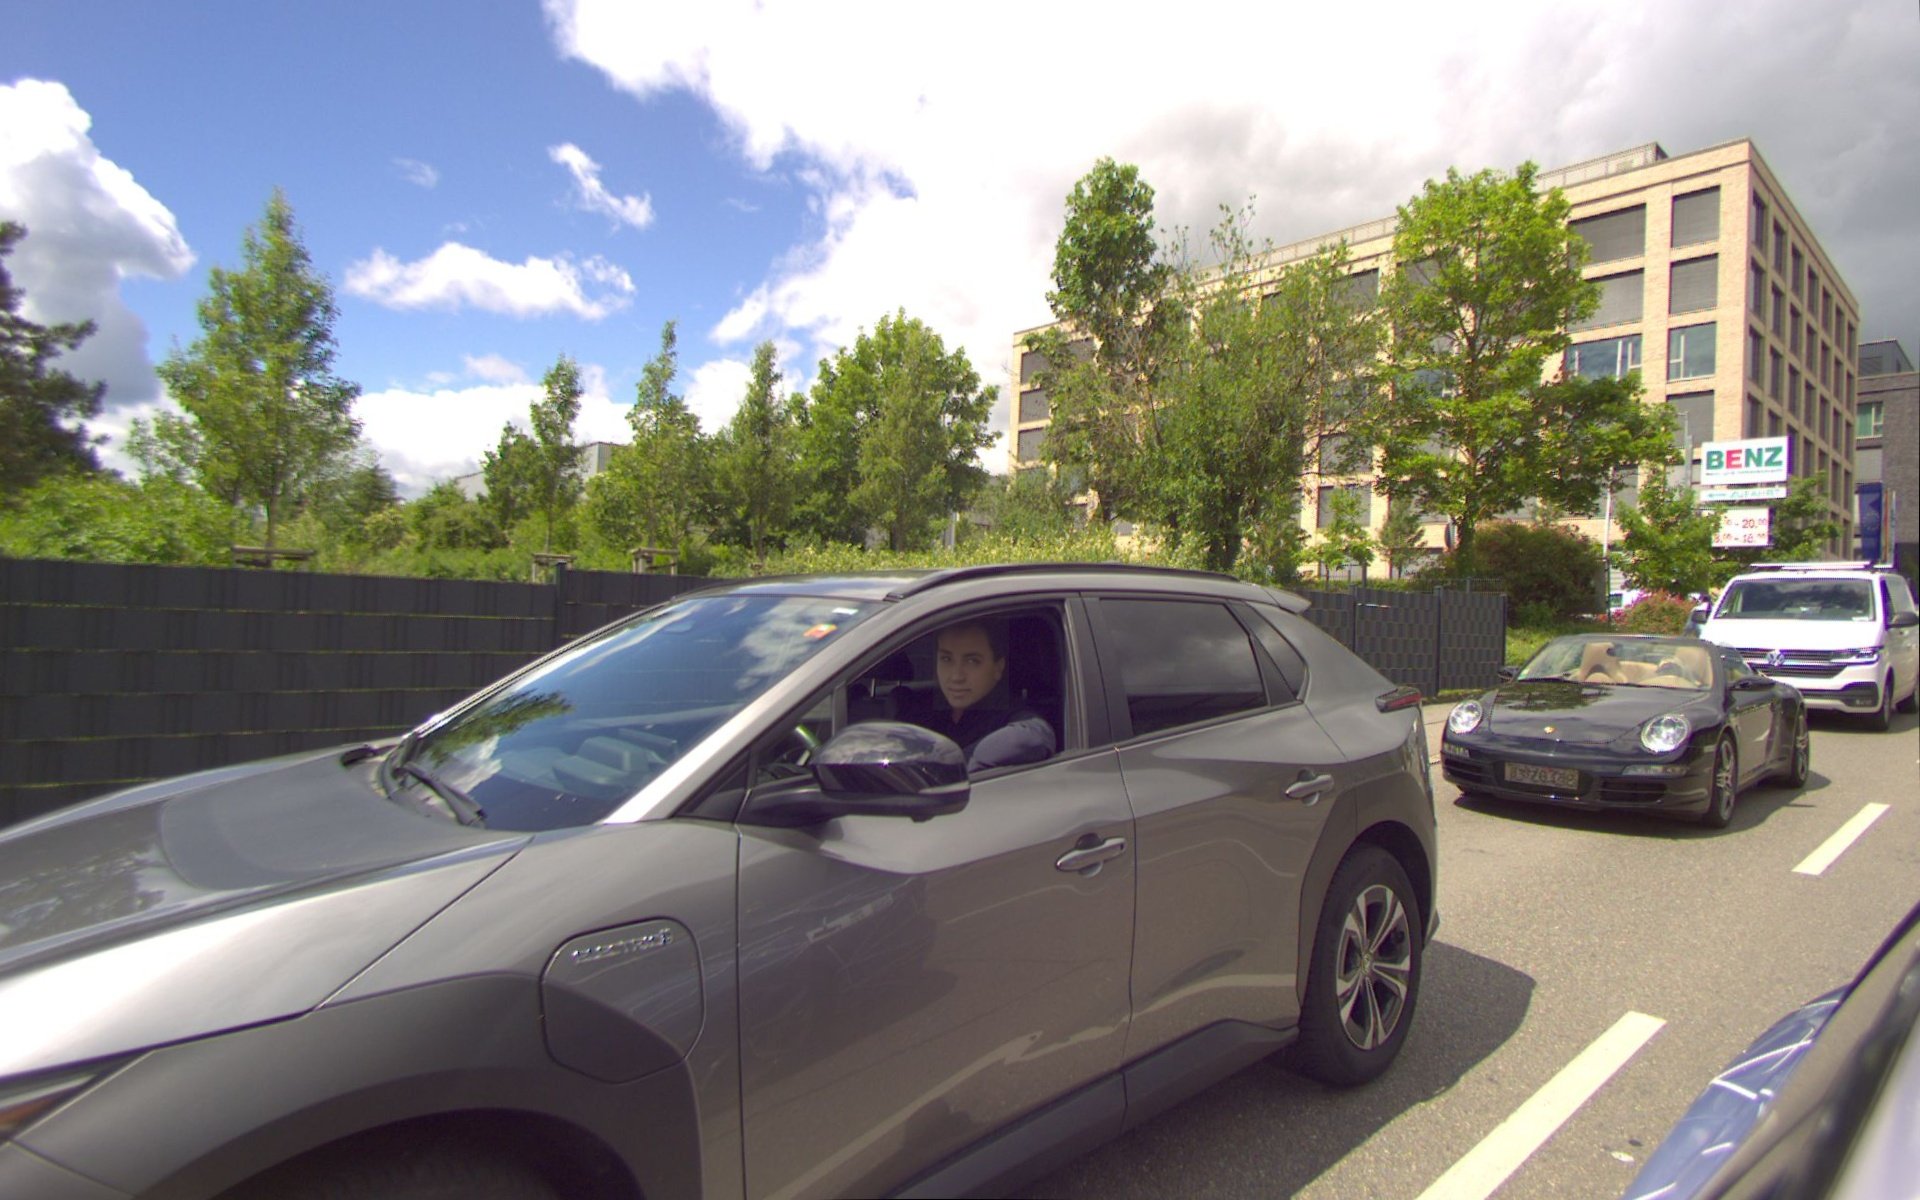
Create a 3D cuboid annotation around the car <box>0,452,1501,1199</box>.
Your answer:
[{"bbox_3d":[-0.381,0.649,2.925,4.501,1.649,1.997,0,1,-42],"label":"car"}]

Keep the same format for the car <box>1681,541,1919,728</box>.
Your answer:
[{"bbox_3d":[11.566,0.373,13.539,4.677,2.075,2.087,0,0,-41],"label":"car"}]

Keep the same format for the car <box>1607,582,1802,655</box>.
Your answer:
[{"bbox_3d":[19.974,0.425,27.255,1.793,1.754,3.991,0,2,-44],"label":"car"}]

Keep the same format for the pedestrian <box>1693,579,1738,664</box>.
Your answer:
[{"bbox_3d":[15.311,0.417,20.504,0.435,1.678,0.631,0,1,-42],"label":"pedestrian"}]

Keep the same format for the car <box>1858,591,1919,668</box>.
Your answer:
[{"bbox_3d":[20.248,0.580,21.067,3.930,1.481,1.817,0,2,-41],"label":"car"}]

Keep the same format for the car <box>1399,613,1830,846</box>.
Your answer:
[{"bbox_3d":[5.280,0.790,7.971,3.967,1.310,1.823,0,0,-41],"label":"car"}]
